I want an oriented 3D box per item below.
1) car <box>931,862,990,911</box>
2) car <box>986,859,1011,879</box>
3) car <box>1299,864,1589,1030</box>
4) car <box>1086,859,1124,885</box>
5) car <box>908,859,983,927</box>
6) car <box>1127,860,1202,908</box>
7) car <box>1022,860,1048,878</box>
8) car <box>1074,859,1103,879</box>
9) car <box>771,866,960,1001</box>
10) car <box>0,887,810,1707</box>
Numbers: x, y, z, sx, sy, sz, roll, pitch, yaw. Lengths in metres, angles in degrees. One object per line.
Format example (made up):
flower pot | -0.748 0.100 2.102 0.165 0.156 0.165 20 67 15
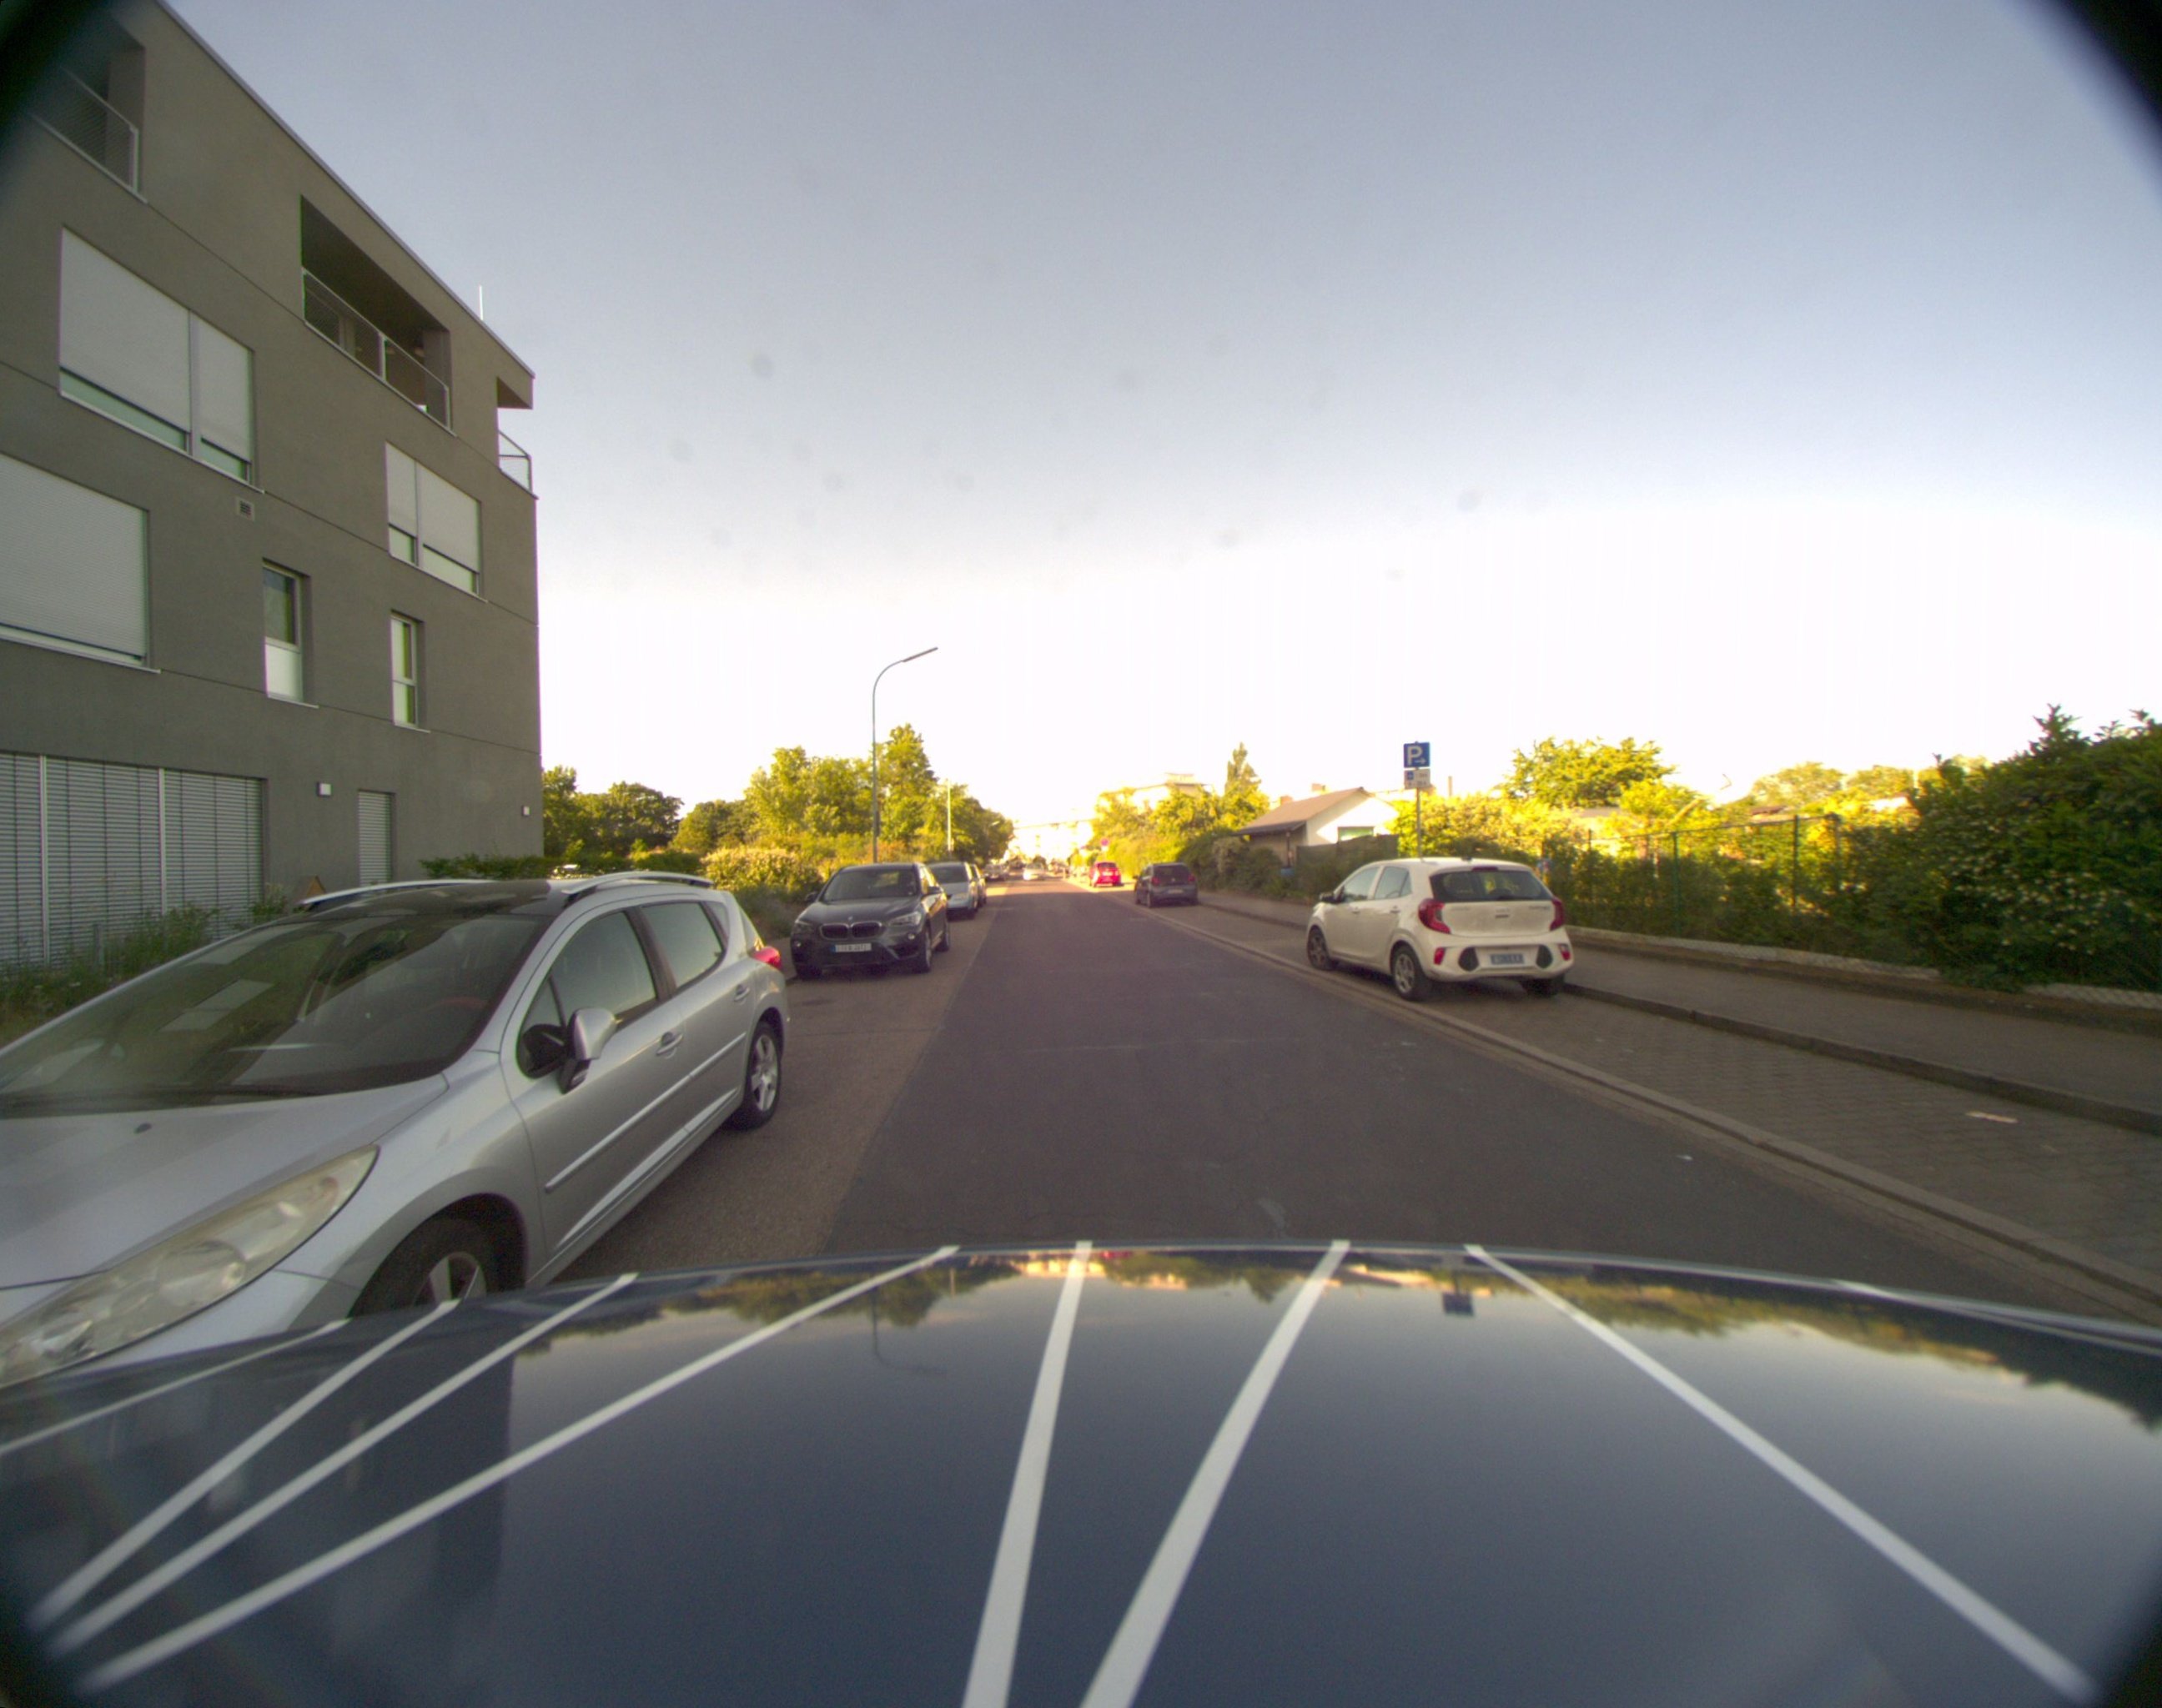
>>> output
car | -4.250 1.121 27.158 1.711 1.517 3.092 -4 0 -4
car | -6.735 1.212 62.598 1.874 1.517 4.153 0 0 -4
car | 3.934 0.898 8.881 1.532 1.479 3.400 -2 0 -5
car | 1.342 1.009 44.557 1.701 1.421 4.384 -1 0 -5
car | -3.876 1.050 22.333 1.712 1.695 4.347 -4 0 -6
car | 2.802 0.990 26.541 1.701 1.415 4.515 -3 0 -5
car | -3.797 1.195 61.839 1.680 1.440 3.997 -1 0 -9
car | 0.478 1.031 54.061 1.701 1.361 3.909 -1 0 -5
car | -3.107 1.036 12.031 1.749 1.557 4.802 -3 0 -3
car | -2.581 1.008 2.971 1.711 1.517 4.153 -2 0 -4
